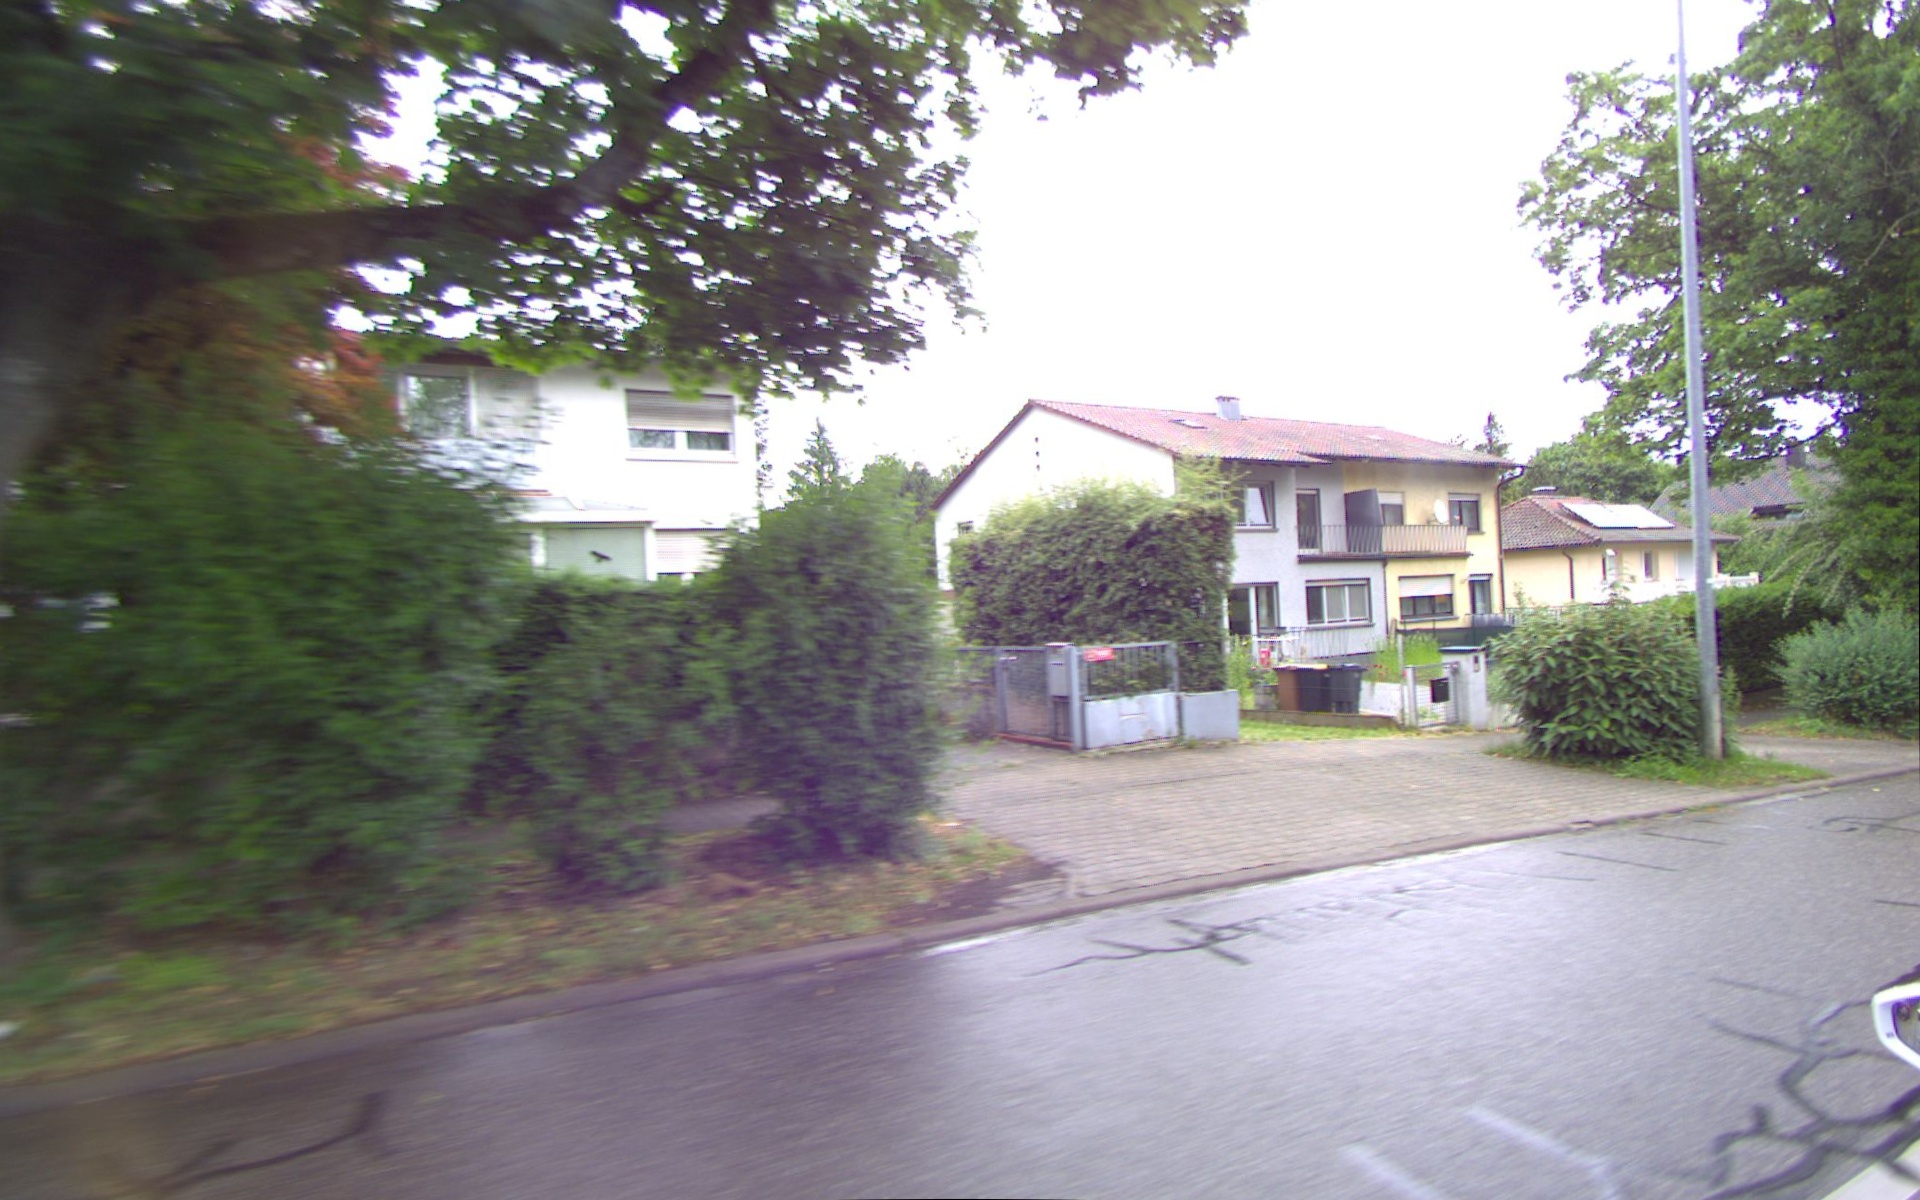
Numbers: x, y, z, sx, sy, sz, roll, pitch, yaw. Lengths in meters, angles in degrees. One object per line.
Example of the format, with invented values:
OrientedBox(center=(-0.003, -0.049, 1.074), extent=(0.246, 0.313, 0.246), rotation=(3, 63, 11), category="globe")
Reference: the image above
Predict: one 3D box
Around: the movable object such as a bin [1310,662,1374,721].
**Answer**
OrientedBox(center=(5.946, 1.413, 15.654), extent=(0.627, 0.836, 0.705), rotation=(0, -1, -30), category="movable object such as a bin")

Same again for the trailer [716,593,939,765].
OrientedBox(center=(-1.735, 1.005, 12.397), extent=(1.410, 1.822, 3.100), rotation=(-1, -6, -34), category="trailer")

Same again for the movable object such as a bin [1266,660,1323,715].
OrientedBox(center=(5.485, 1.429, 16.465), extent=(0.627, 0.836, 0.629), rotation=(0, -1, -30), category="movable object such as a bin")
